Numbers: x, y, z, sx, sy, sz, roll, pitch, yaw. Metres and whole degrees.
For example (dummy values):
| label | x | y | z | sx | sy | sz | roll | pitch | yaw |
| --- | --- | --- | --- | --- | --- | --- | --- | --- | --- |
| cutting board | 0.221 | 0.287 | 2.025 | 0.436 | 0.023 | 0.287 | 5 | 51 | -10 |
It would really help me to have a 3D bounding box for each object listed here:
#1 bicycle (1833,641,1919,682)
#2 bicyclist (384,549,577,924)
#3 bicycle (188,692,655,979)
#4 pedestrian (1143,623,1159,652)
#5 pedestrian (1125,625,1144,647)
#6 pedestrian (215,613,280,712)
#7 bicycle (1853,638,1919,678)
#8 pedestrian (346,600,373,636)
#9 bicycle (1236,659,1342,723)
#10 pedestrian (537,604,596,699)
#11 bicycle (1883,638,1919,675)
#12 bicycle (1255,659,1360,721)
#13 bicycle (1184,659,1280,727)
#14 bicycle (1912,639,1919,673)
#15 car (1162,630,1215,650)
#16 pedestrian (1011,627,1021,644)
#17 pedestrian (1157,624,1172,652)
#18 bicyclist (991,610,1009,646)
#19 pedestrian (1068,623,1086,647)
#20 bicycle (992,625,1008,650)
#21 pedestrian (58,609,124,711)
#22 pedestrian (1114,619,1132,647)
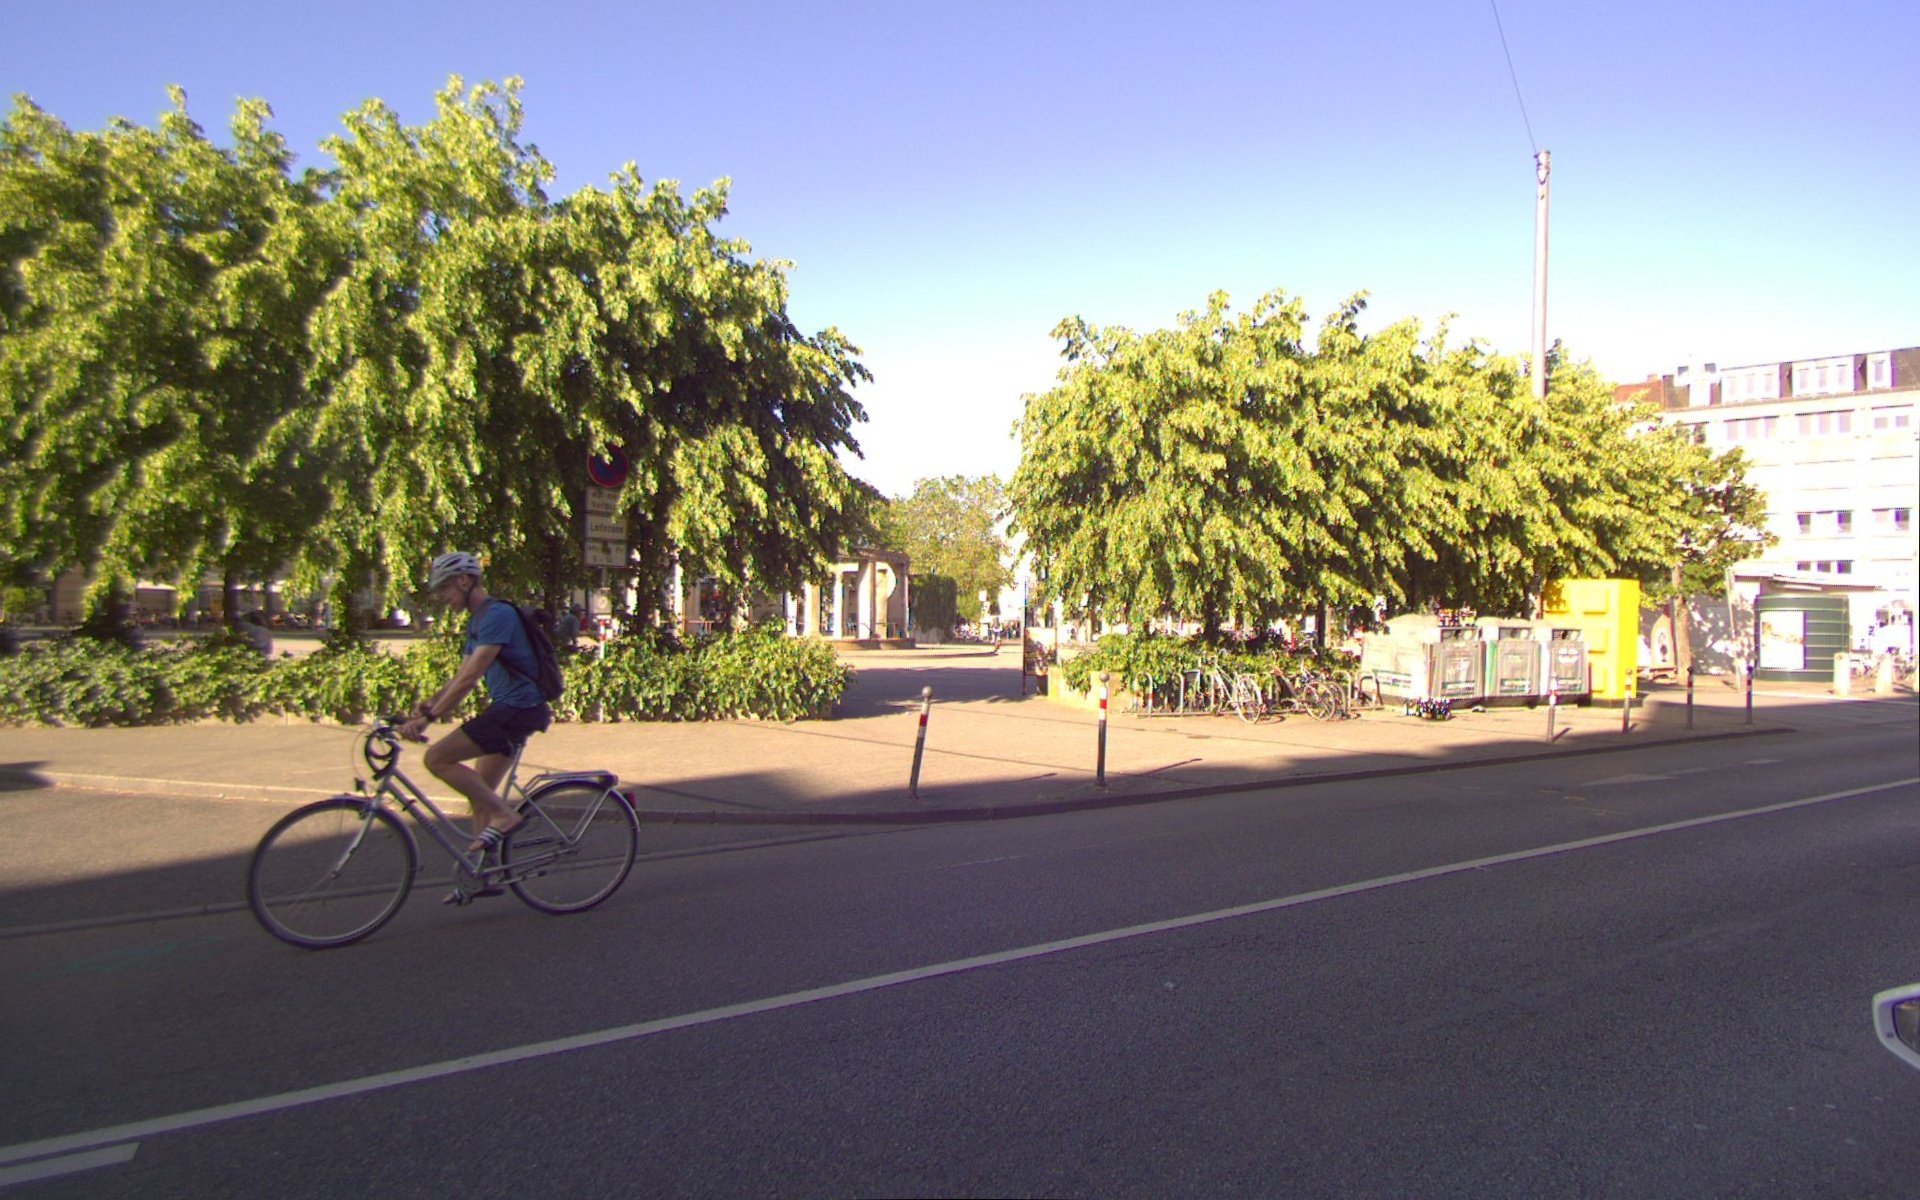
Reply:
| label | x | y | z | sx | sy | sz | roll | pitch | yaw |
| --- | --- | --- | --- | --- | --- | --- | --- | --- | --- |
| bicycle | 31.220 | 2.060 | 33.761 | 0.932 | 1.211 | 2.645 | 2 | 0 | -32 |
| bicyclist | -2.442 | 0.656 | 5.154 | 0.799 | 1.731 | 0.699 | 2 | -4 | -27 |
| bicycle | -2.590 | 1.077 | 5.055 | 1.933 | 1.177 | 0.614 | 2 | -3 | -28 |
| pedestrian | 10.640 | 2.081 | 55.934 | 0.761 | 1.541 | 0.838 | 2 | 0 | 6 |
| pedestrian | 10.354 | 2.118 | 59.487 | 0.884 | 1.230 | 0.866 | 2 | 0 | -6 |
| pedestrian | -10.851 | 0.931 | 15.297 | 0.581 | 1.456 | 0.615 | 2 | 0 | 33 |
| bicycle | 33.142 | 2.037 | 35.063 | 0.923 | 1.291 | 2.764 | 2 | 0 | -32 |
| pedestrian | -26.646 | 0.798 | 44.566 | 0.680 | 1.550 | 0.740 | 2 | 0 | 20 |
| bicycle | 5.274 | 1.439 | 16.182 | 0.465 | 0.870 | 1.659 | 2 | 0 | -35 |
| pedestrian | -6.589 | 0.844 | 16.818 | 0.688 | 1.541 | 0.676 | 2 | 0 | -41 |
| bicycle | 35.261 | 2.081 | 36.130 | 0.932 | 1.287 | 2.859 | 2 | 0 | -32 |
| bicycle | 5.673 | 1.450 | 16.477 | 0.465 | 0.870 | 1.654 | 2 | 0 | -35 |
| bicycle | 4.175 | 1.407 | 15.523 | 0.464 | 0.897 | 1.558 | 2 | 0 | -29 |
| bicycle | 37.245 | 2.152 | 37.274 | 0.932 | 1.276 | 2.648 | 2 | 0 | -32 |
| car | 19.089 | 3.332 | 83.985 | 4.066 | 1.550 | 1.546 | 0 | -1 | 36 |
| pedestrian | 6.089 | 3.856 | 109.124 | 0.891 | 1.845 | 0.952 | 2 | 0 | 17 |
| pedestrian | 11.415 | 2.109 | 56.013 | 0.598 | 1.528 | 0.557 | 2 | 0 | -15 |
| bicyclist | 1.925 | 1.341 | 48.487 | 0.772 | 1.722 | 0.896 | 2 | 0 | 5 |
| pedestrian | 9.503 | 2.801 | 81.517 | 1.274 | 1.867 | 1.102 | 2 | 0 | 17 |
| bicycle | 1.954 | 1.815 | 48.662 | 0.593 | 1.116 | 1.990 | 2 | 0 | 6 |
| pedestrian | -12.859 | 0.868 | 14.880 | 0.615 | 1.456 | 0.647 | 2 | 0 | -32 |
| pedestrian | 9.212 | 1.859 | 56.702 | 0.904 | 1.541 | 0.936 | 2 | 0 | 15 |
